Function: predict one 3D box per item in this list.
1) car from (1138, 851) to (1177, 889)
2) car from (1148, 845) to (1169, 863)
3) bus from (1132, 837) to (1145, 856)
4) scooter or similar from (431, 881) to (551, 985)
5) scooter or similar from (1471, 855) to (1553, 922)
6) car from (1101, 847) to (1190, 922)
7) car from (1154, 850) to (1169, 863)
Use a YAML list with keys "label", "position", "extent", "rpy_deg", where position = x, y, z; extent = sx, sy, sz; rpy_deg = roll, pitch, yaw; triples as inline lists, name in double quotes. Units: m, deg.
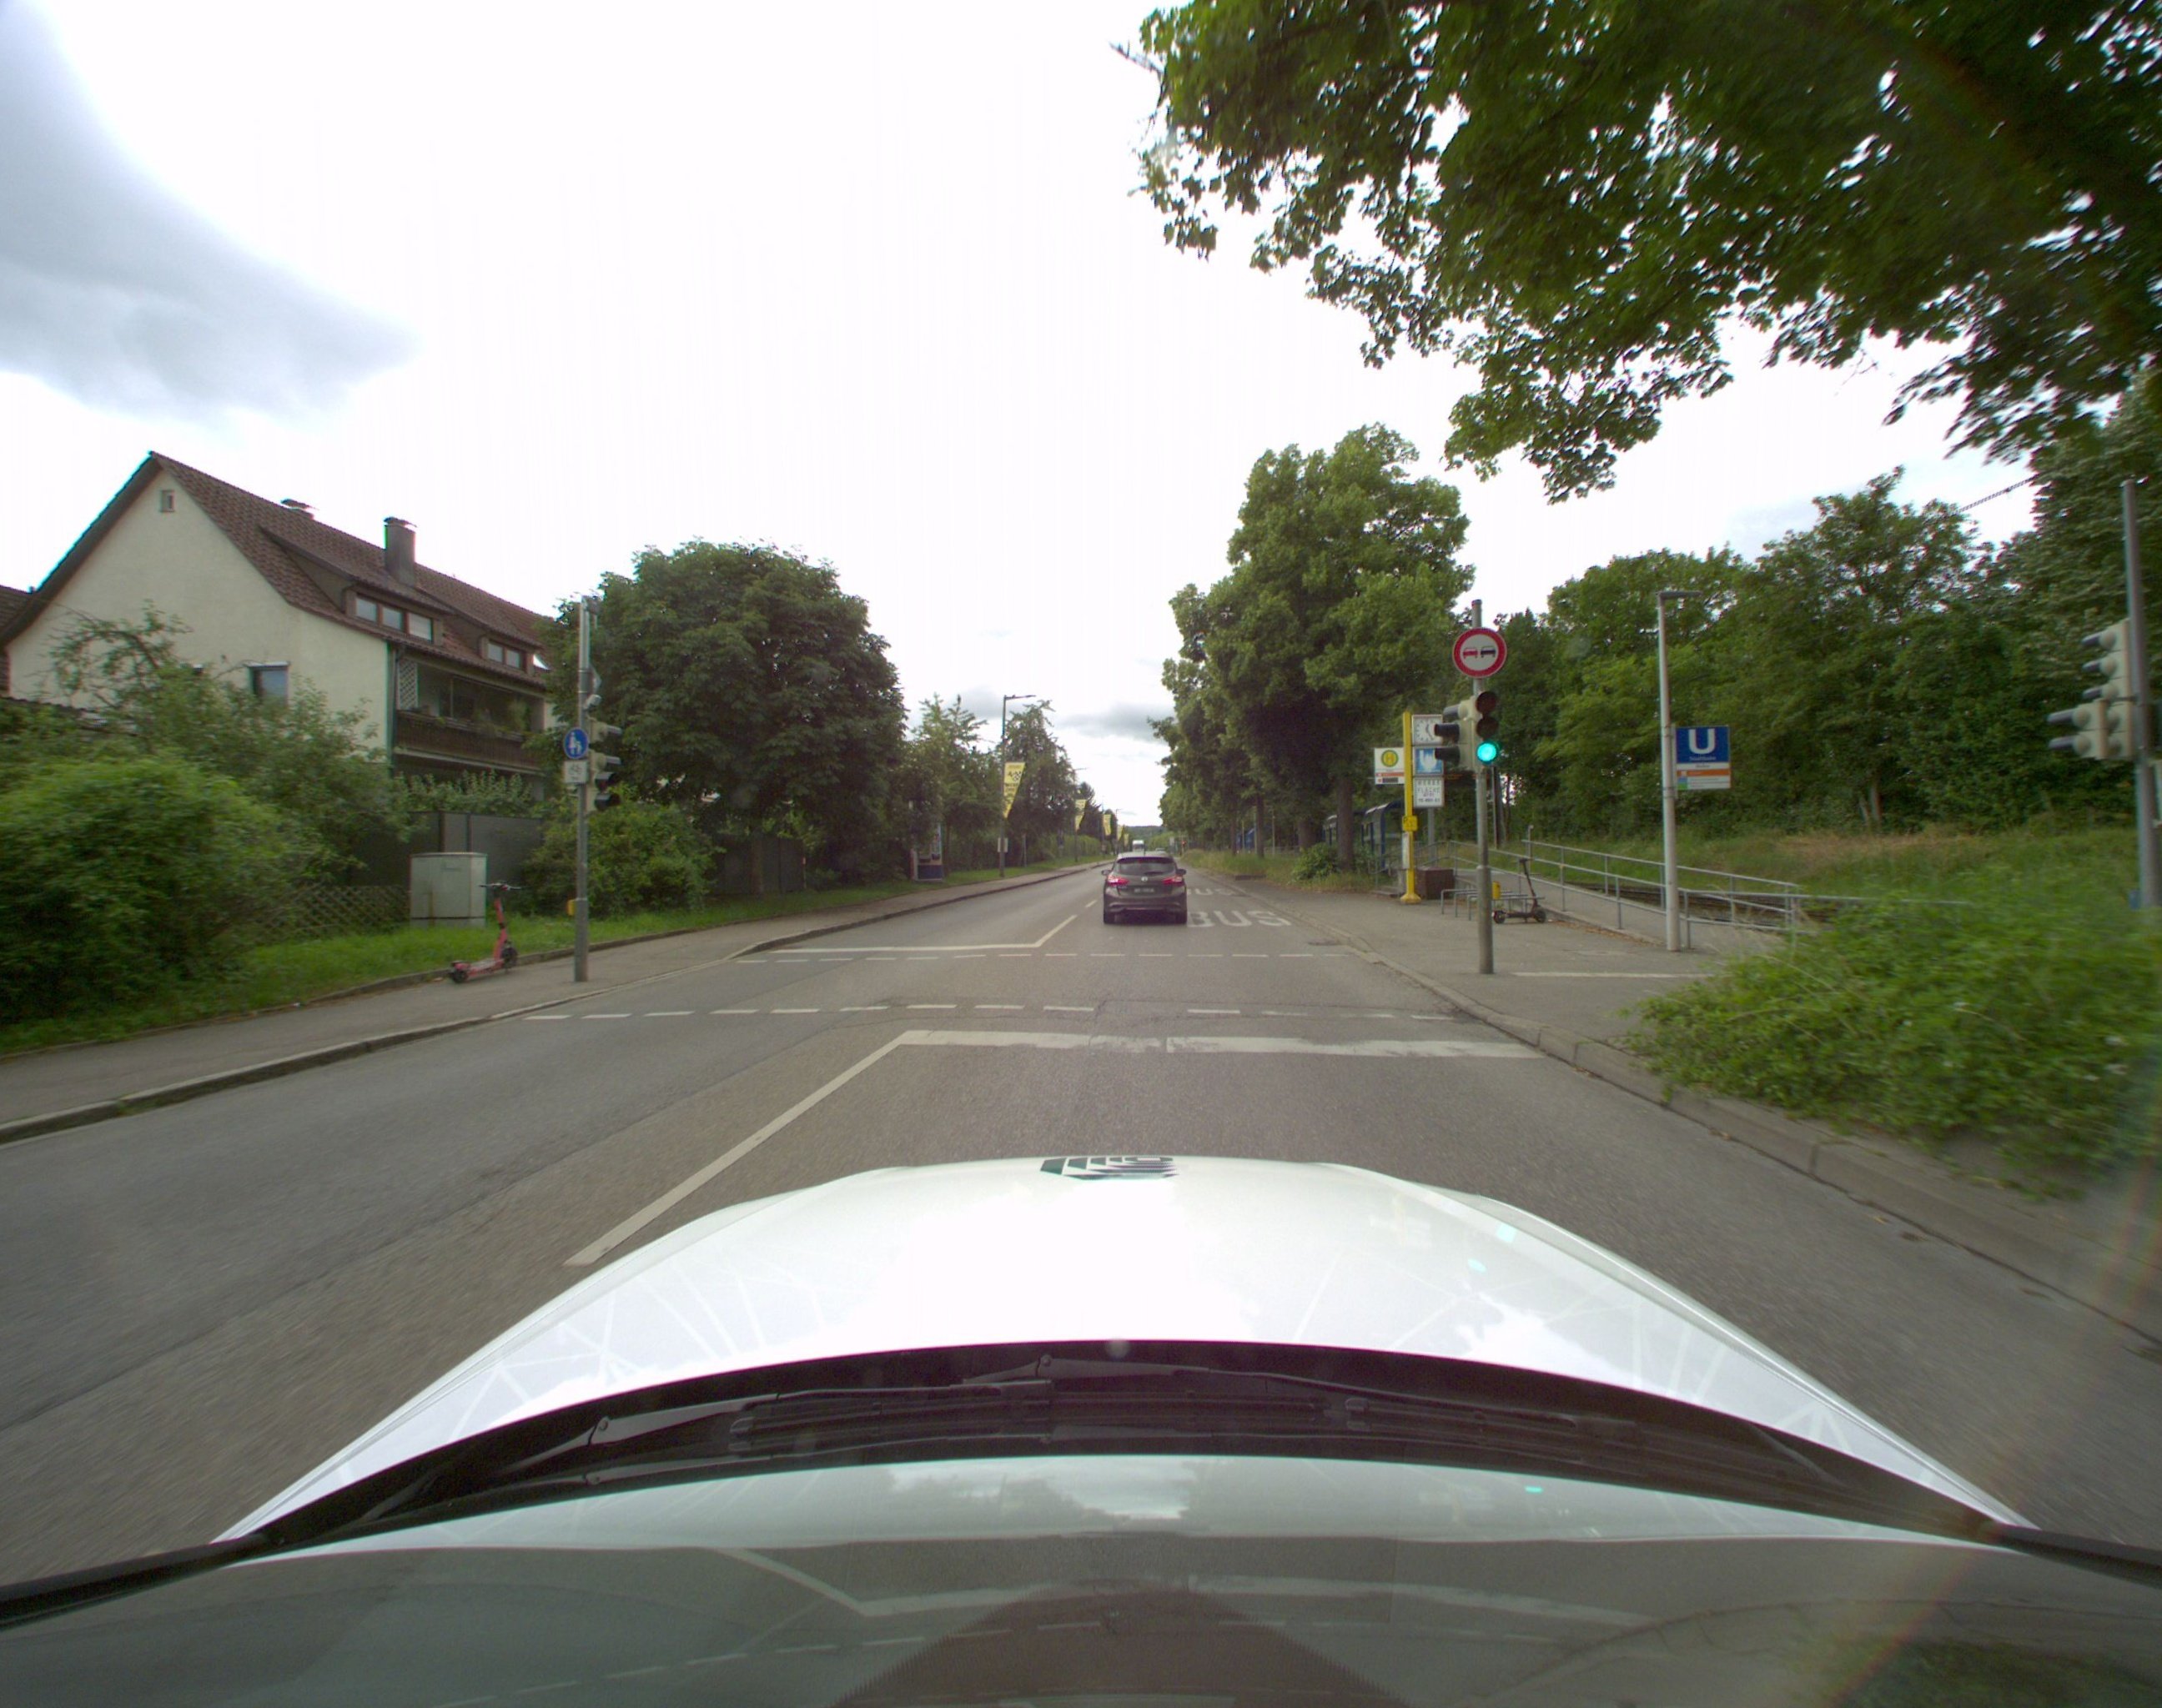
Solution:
- label: "car"
  position: [3.161, 0.637, 33.716]
  extent: [1.494, 1.441, 3.547]
  rpy_deg: [-1, 0, 5]
- label: "car"
  position: [6.335, 0.020, 66.834]
  extent: [1.683, 1.441, 3.547]
  rpy_deg: [-1, 0, 5]
- label: "bus"
  position: [12.923, -1.553, 181.674]
  extent: [2.475, 4.025, 10.232]
  rpy_deg: [-1, 0, 5]
- label: "scooter or similar"
  position: [-7.922, 1.023, 10.999]
  extent: [0.460, 1.259, 1.429]
  rpy_deg: [-1, 0, 7]
- label: "scooter or similar"
  position: [8.259, 0.650, 15.608]
  extent: [1.456, 1.243, 0.482]
  rpy_deg: [0, 0, -16]
- label: "car"
  position: [1.495, 0.640, 18.305]
  extent: [1.775, 1.507, 3.702]
  rpy_deg: [-1, -1, 6]
- label: "car"
  position: [9.674, 0.297, 97.954]
  extent: [1.683, 1.441, 3.547]
  rpy_deg: [-1, 0, 5]
